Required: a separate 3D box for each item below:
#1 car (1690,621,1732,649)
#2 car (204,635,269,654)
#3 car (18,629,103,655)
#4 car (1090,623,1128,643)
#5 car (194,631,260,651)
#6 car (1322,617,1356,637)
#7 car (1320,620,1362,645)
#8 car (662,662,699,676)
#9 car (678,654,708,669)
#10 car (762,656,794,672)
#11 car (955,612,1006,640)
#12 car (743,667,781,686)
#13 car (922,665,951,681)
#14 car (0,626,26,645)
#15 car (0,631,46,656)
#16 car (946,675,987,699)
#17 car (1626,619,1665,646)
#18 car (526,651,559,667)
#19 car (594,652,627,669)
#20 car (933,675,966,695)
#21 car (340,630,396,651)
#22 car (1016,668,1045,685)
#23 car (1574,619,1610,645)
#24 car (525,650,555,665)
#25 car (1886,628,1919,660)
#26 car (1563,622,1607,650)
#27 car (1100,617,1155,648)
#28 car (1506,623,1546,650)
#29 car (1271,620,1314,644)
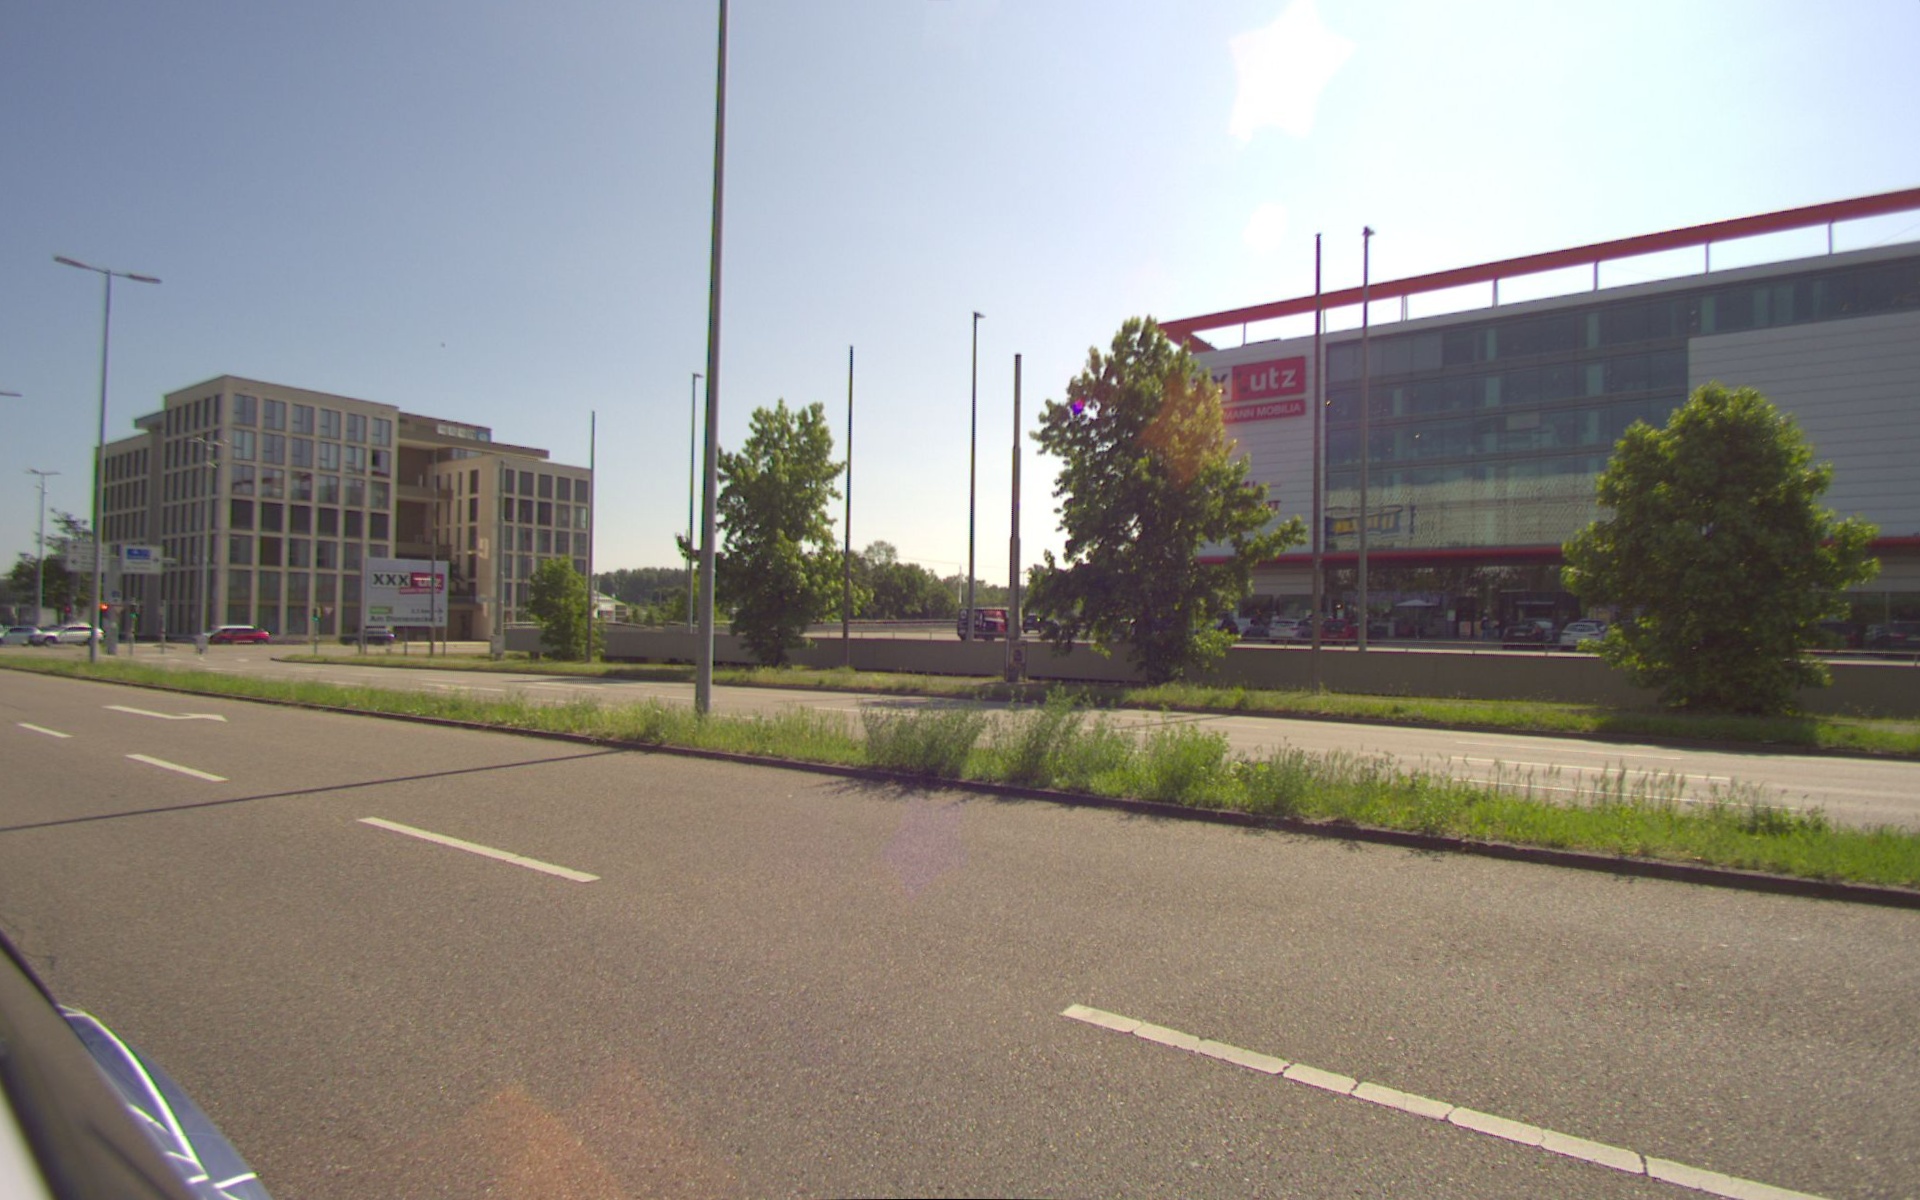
[{"bbox_3d":[35.139,1.630,47.434,1.477,1.208,3.468,0,-1,35],"label":"car"},{"bbox_3d":[-60.112,3.661,84.110,1.527,1.539,4.072,-1,-3,34],"label":"car"},{"bbox_3d":[-66.163,3.070,74.508,2.017,1.852,4.270,0,-1,28],"label":"car"},{"bbox_3d":[10.615,2.356,72.150,1.512,1.340,2.985,0,-1,35],"label":"car"},{"bbox_3d":[-62.603,3.501,86.493,1.899,1.724,4.182,-1,-3,34],"label":"car"},{"bbox_3d":[26.218,1.880,69.913,1.512,1.340,3.060,0,-1,35],"label":"car"},{"bbox_3d":[21.831,1.862,57.894,1.512,1.340,3.186,0,-1,35],"label":"car"},{"bbox_3d":[-16.854,4.164,61.106,0.904,0.739,2.064,0,-1,33],"label":"car"},{"bbox_3d":[-18.484,4.269,70.043,0.885,0.983,1.920,0,-2,34],"label":"car"},{"bbox_3d":[-12.056,4.243,67.013,1.068,0.983,1.921,0,-1,34],"label":"car"},{"bbox_3d":[1.206,1.514,59.028,1.770,1.568,2.742,-2,-3,35],"label":"car"},{"bbox_3d":[-11.035,4.254,56.471,1.068,0.983,1.921,0,-1,34],"label":"car"},{"bbox_3d":[-1.613,4.948,69.002,1.068,0.983,1.921,0,-1,34],"label":"car"},{"bbox_3d":[-100.395,3.704,105.603,3.932,2.029,2.005,2,-3,-33],"label":"car"},{"bbox_3d":[-69.339,3.145,73.718,1.827,1.725,3.726,0,-1,31],"label":"car"},{"bbox_3d":[0.318,4.064,47.599,1.068,0.983,1.921,0,-1,34],"label":"car"},{"bbox_3d":[35.716,1.691,52.675,1.626,1.340,3.633,0,-1,35],"label":"car"},{"bbox_3d":[-28.904,4.070,70.018,0.887,0.983,1.921,-7,-5,33],"label":"car"},{"bbox_3d":[-22.476,3.873,65.140,0.864,0.983,1.827,0,-1,33],"label":"car"},{"bbox_3d":[-0.599,4.912,58.504,1.068,0.983,1.921,0,-1,34],"label":"car"},{"bbox_3d":[-55.765,3.813,95.350,1.832,1.903,4.191,0,-2,37],"label":"car"},{"bbox_3d":[4.520,4.872,64.769,1.068,0.983,1.921,0,-1,34],"label":"car"},{"bbox_3d":[34.325,1.711,54.914,1.512,1.340,3.060,0,-1,35],"label":"car"},{"bbox_3d":[-25.383,3.461,61.193,0.790,0.889,1.488,0,-1,34],"label":"car"},{"bbox_3d":[40.305,1.834,42.636,1.512,1.303,3.060,0,-2,35],"label":"car"},{"bbox_3d":[31.080,1.773,50.322,1.700,1.340,3.060,0,-1,35],"label":"car"},{"bbox_3d":[6.122,1.173,36.909,1.068,1.067,2.492,0,-1,33],"label":"car"},{"bbox_3d":[29.190,1.883,52.173,1.512,1.340,3.060,0,-1,35],"label":"car"},{"bbox_3d":[19.272,1.853,58.555,1.512,1.340,3.186,0,-1,35],"label":"car"}]
